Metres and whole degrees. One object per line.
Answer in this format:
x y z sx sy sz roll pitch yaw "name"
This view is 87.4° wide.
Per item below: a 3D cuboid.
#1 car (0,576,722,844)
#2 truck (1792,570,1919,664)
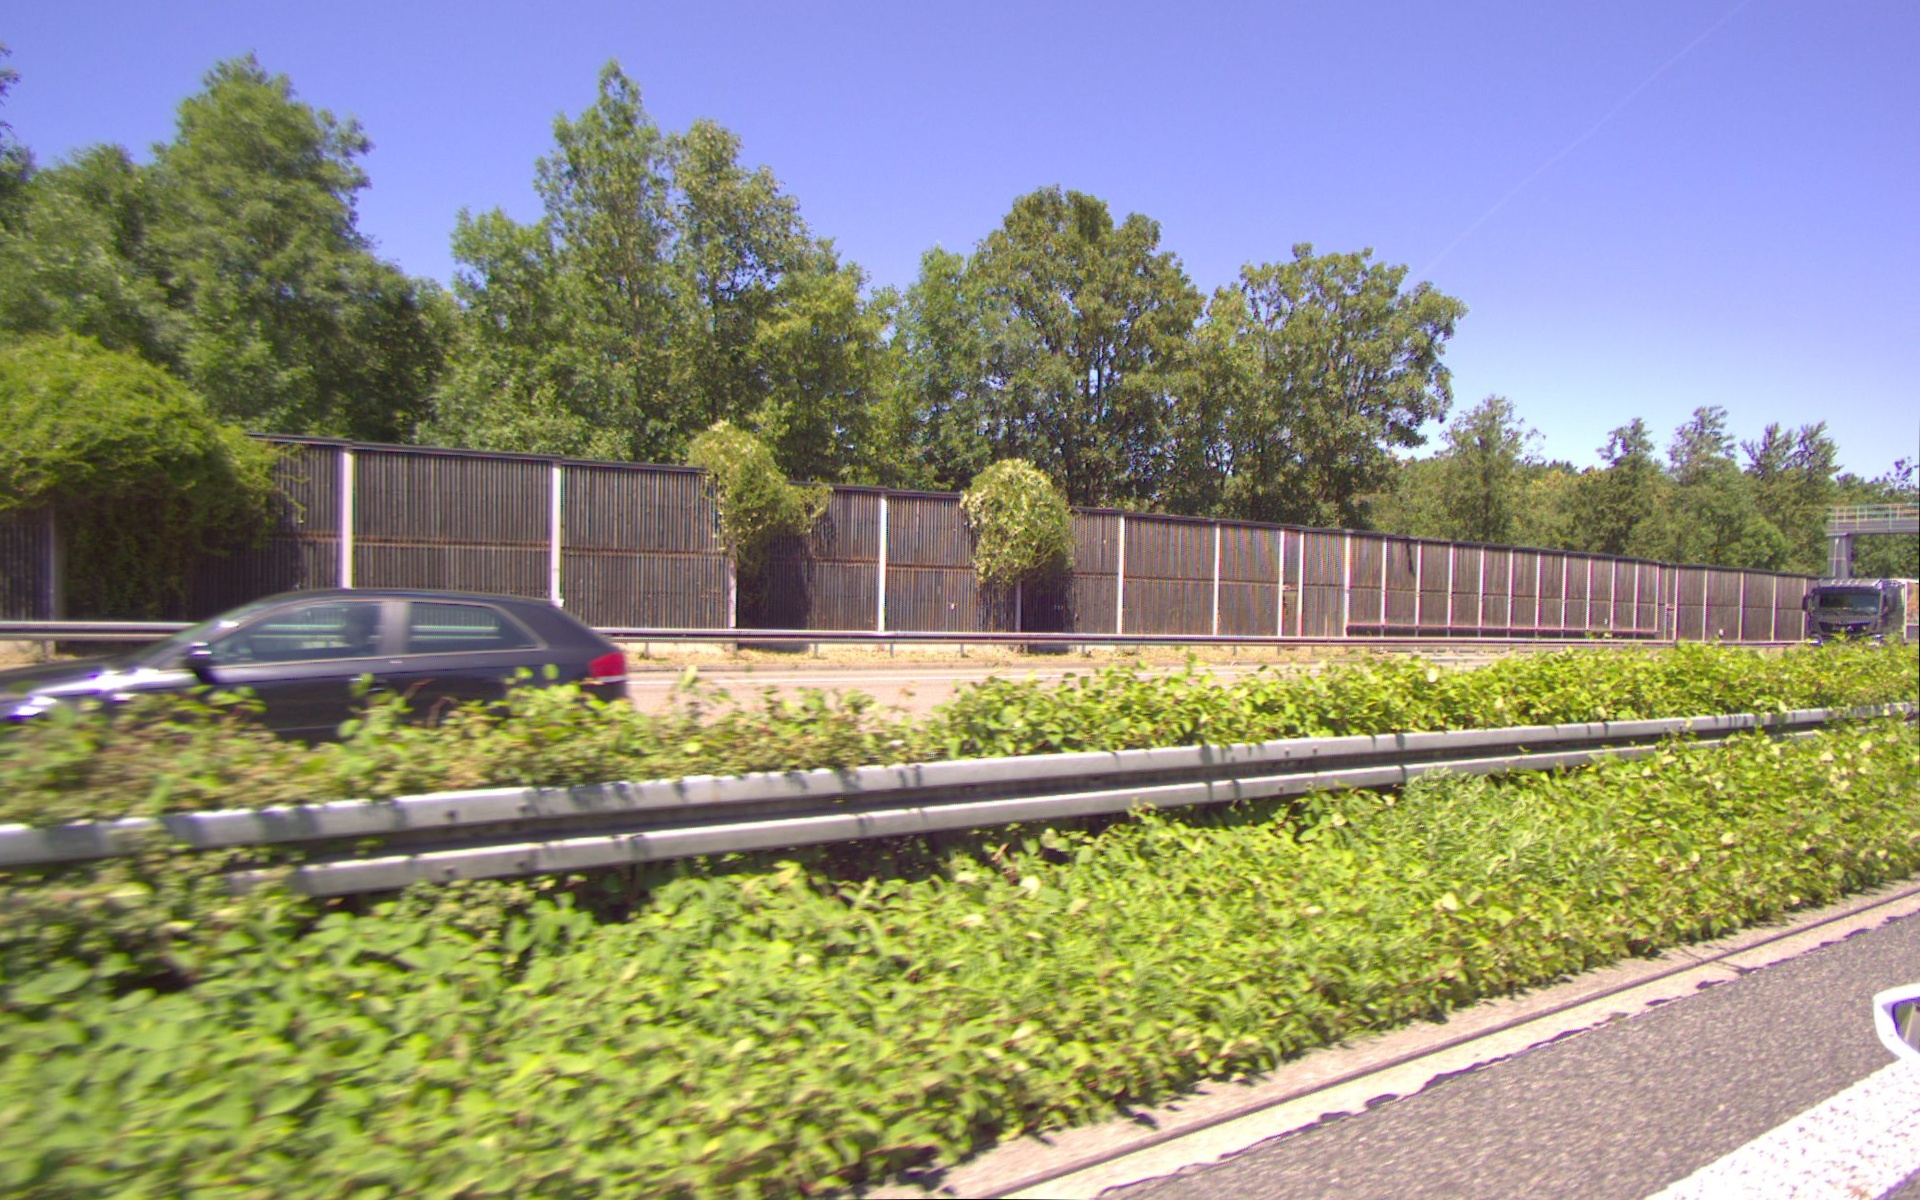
-3.802 0.622 6.991 3.870 1.409 1.617 2 0 -32 "car"
39.385 0.758 42.878 9.837 3.653 2.856 2 0 -31 "truck"
